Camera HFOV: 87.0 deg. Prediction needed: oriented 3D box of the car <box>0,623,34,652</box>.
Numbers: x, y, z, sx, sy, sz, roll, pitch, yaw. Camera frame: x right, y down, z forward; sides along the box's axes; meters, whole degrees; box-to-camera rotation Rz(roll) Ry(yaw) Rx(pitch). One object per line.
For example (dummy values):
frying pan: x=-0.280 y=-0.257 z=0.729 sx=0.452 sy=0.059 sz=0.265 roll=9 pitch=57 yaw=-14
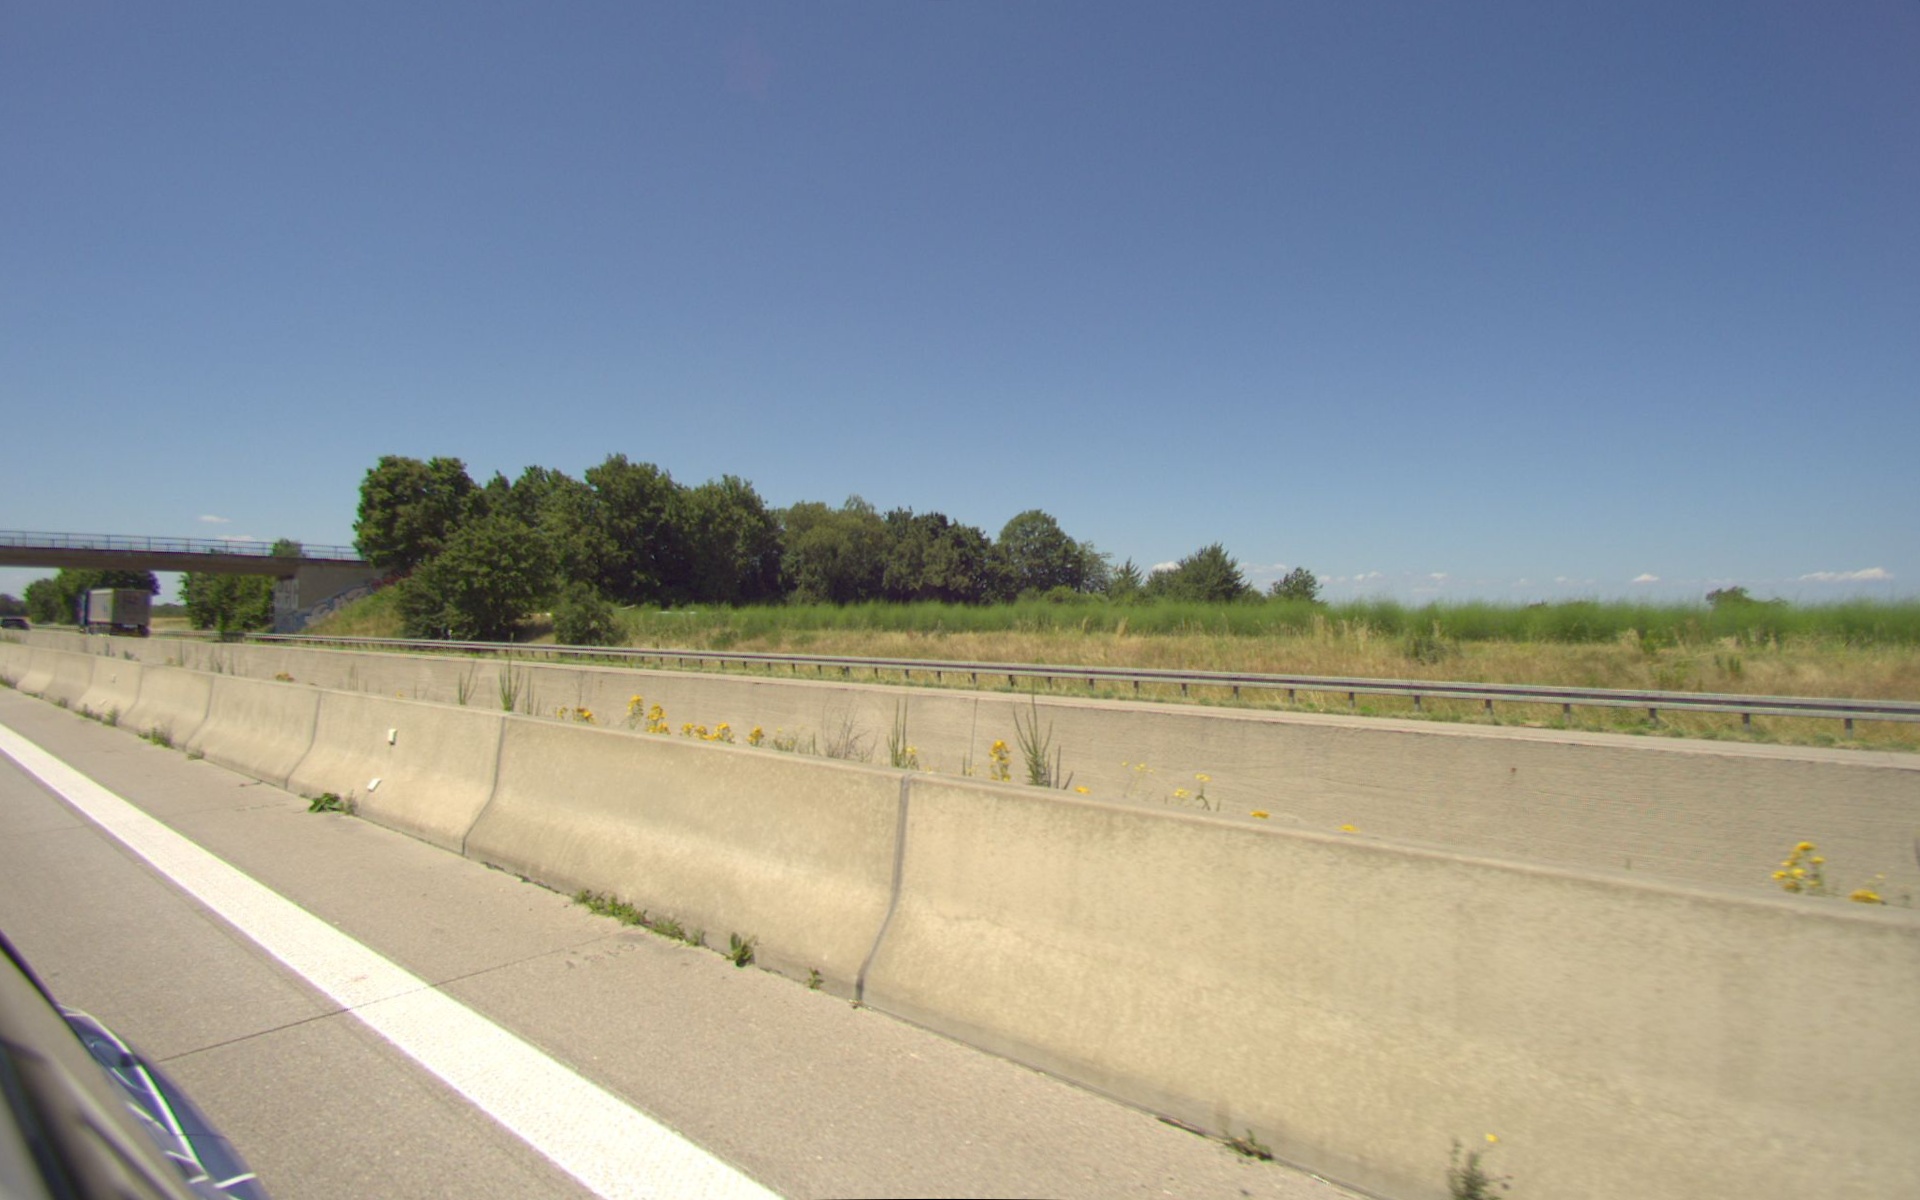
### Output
car: x=-65.399 y=2.537 z=69.584 sx=5.464 sy=1.876 sz=1.973 roll=-1 pitch=0 yaw=41

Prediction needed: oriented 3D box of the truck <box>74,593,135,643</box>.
truck: x=-74.300 y=1.612 z=87.873 sx=6.462 sy=4.121 sz=2.950 roll=-1 pitch=-4 yaw=41

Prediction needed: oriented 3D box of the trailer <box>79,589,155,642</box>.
trailer: x=-70.523 y=1.327 z=84.525 sx=11.600 sy=4.121 sz=2.950 roll=-1 pitch=-4 yaw=41
